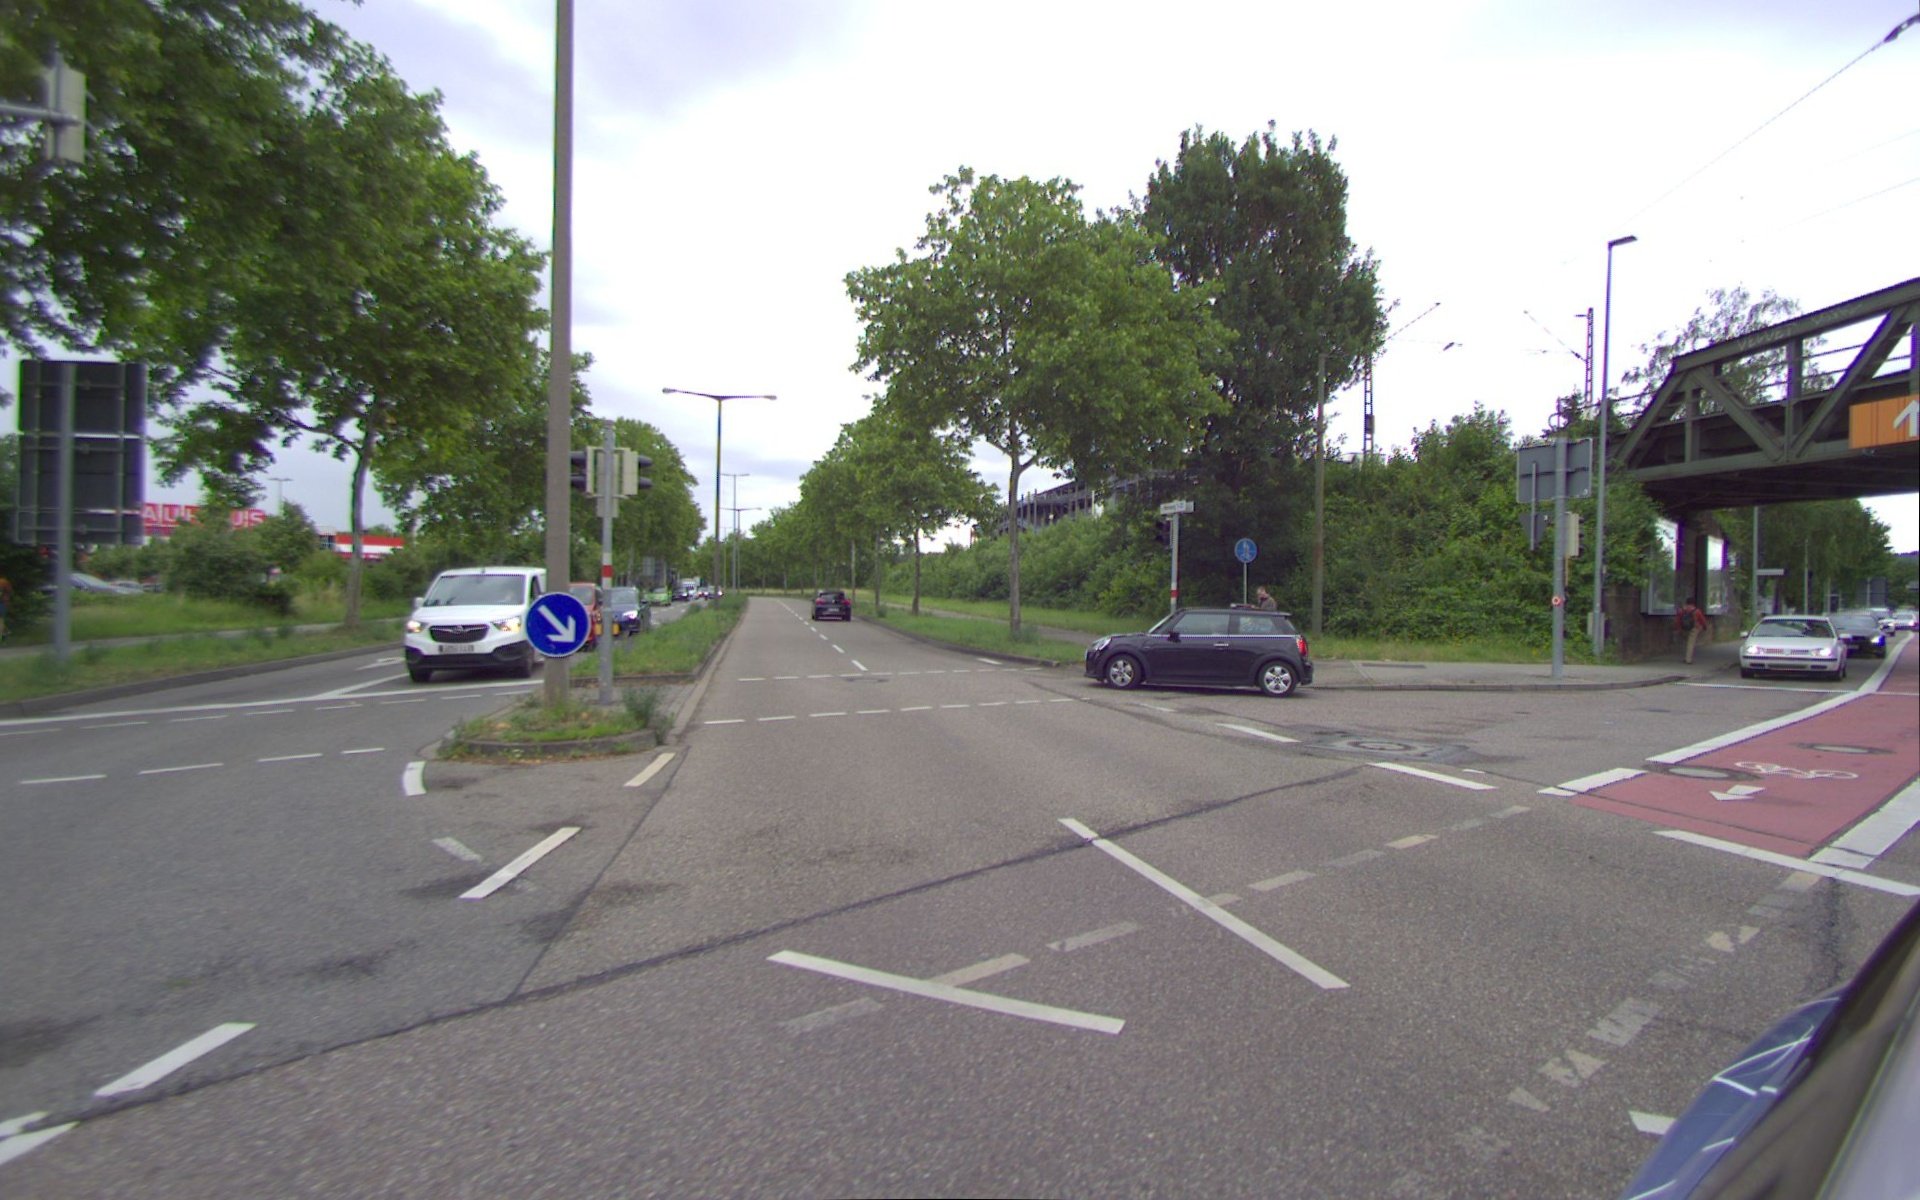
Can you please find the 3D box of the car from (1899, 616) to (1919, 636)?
[{"bbox_3d":[70.788,1.910,74.907,1.832,1.442,3.936,-1,-1,44],"label":"car"}]

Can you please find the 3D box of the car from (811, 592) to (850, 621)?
[{"bbox_3d":[-6.112,0.310,47.525,1.618,1.297,3.425,0,-1,-11],"label":"car"}]

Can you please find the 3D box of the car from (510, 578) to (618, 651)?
[{"bbox_3d":[-9.091,0.297,23.477,1.661,1.551,3.695,1,0,-11],"label":"car"}]

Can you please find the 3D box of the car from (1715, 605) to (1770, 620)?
[{"bbox_3d":[78.769,1.277,101.924,4.188,1.450,1.711,-3,-3,45],"label":"car"}]

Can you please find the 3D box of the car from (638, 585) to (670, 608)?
[{"bbox_3d":[-22.184,-0.224,73.532,1.748,1.552,4.006,-1,-1,-9],"label":"car"}]

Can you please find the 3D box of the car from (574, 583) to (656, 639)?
[{"bbox_3d":[-9.850,0.274,29.177,1.661,1.501,4.073,1,0,-11],"label":"car"}]

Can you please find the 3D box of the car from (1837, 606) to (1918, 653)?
[{"bbox_3d":[29.994,0.943,33.060,1.832,1.442,3.936,-1,-1,44],"label":"car"}]

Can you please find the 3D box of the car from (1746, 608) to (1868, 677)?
[{"bbox_3d":[19.212,0.911,22.896,3.875,1.442,1.723,1,-1,-44],"label":"car"}]

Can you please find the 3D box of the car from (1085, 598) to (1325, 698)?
[{"bbox_3d":[4.094,0.758,17.095,3.721,1.450,1.676,2,-1,16],"label":"car"}]

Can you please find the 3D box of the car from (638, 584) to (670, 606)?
[{"bbox_3d":[-22.369,-0.350,74.119,1.748,1.552,4.006,-1,-1,-9],"label":"car"}]

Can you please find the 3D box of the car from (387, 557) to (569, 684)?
[{"bbox_3d":[-8.008,0.269,17.273,1.841,1.851,4.430,-1,1,-12],"label":"car"}]

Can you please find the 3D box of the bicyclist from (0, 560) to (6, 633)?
[{"bbox_3d":[-20.760,-0.083,21.369,0.578,1.539,0.751,1,0,31],"label":"bicyclist"}]

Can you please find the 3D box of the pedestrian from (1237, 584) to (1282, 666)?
[{"bbox_3d":[6.222,0.515,21.074,0.765,1.661,0.742,1,0,7],"label":"pedestrian"}]

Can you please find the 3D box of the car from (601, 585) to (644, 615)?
[{"bbox_3d":[-18.159,-0.013,54.654,1.661,1.501,4.073,1,0,-11],"label":"car"}]

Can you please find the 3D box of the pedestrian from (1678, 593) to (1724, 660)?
[{"bbox_3d":[20.138,0.702,27.526,0.866,1.782,0.780,1,0,27],"label":"pedestrian"}]

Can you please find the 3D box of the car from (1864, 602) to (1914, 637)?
[{"bbox_3d":[53.415,1.116,58.264,1.988,1.872,4.042,1,0,41],"label":"car"}]

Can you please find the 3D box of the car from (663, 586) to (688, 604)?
[{"bbox_3d":[-26.134,-0.477,93.138,1.748,1.552,4.006,-1,-1,-9],"label":"car"}]

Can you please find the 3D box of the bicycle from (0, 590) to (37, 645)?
[{"bbox_3d":[-20.790,0.367,21.337,0.577,1.163,1.873,1,0,31],"label":"bicycle"}]
